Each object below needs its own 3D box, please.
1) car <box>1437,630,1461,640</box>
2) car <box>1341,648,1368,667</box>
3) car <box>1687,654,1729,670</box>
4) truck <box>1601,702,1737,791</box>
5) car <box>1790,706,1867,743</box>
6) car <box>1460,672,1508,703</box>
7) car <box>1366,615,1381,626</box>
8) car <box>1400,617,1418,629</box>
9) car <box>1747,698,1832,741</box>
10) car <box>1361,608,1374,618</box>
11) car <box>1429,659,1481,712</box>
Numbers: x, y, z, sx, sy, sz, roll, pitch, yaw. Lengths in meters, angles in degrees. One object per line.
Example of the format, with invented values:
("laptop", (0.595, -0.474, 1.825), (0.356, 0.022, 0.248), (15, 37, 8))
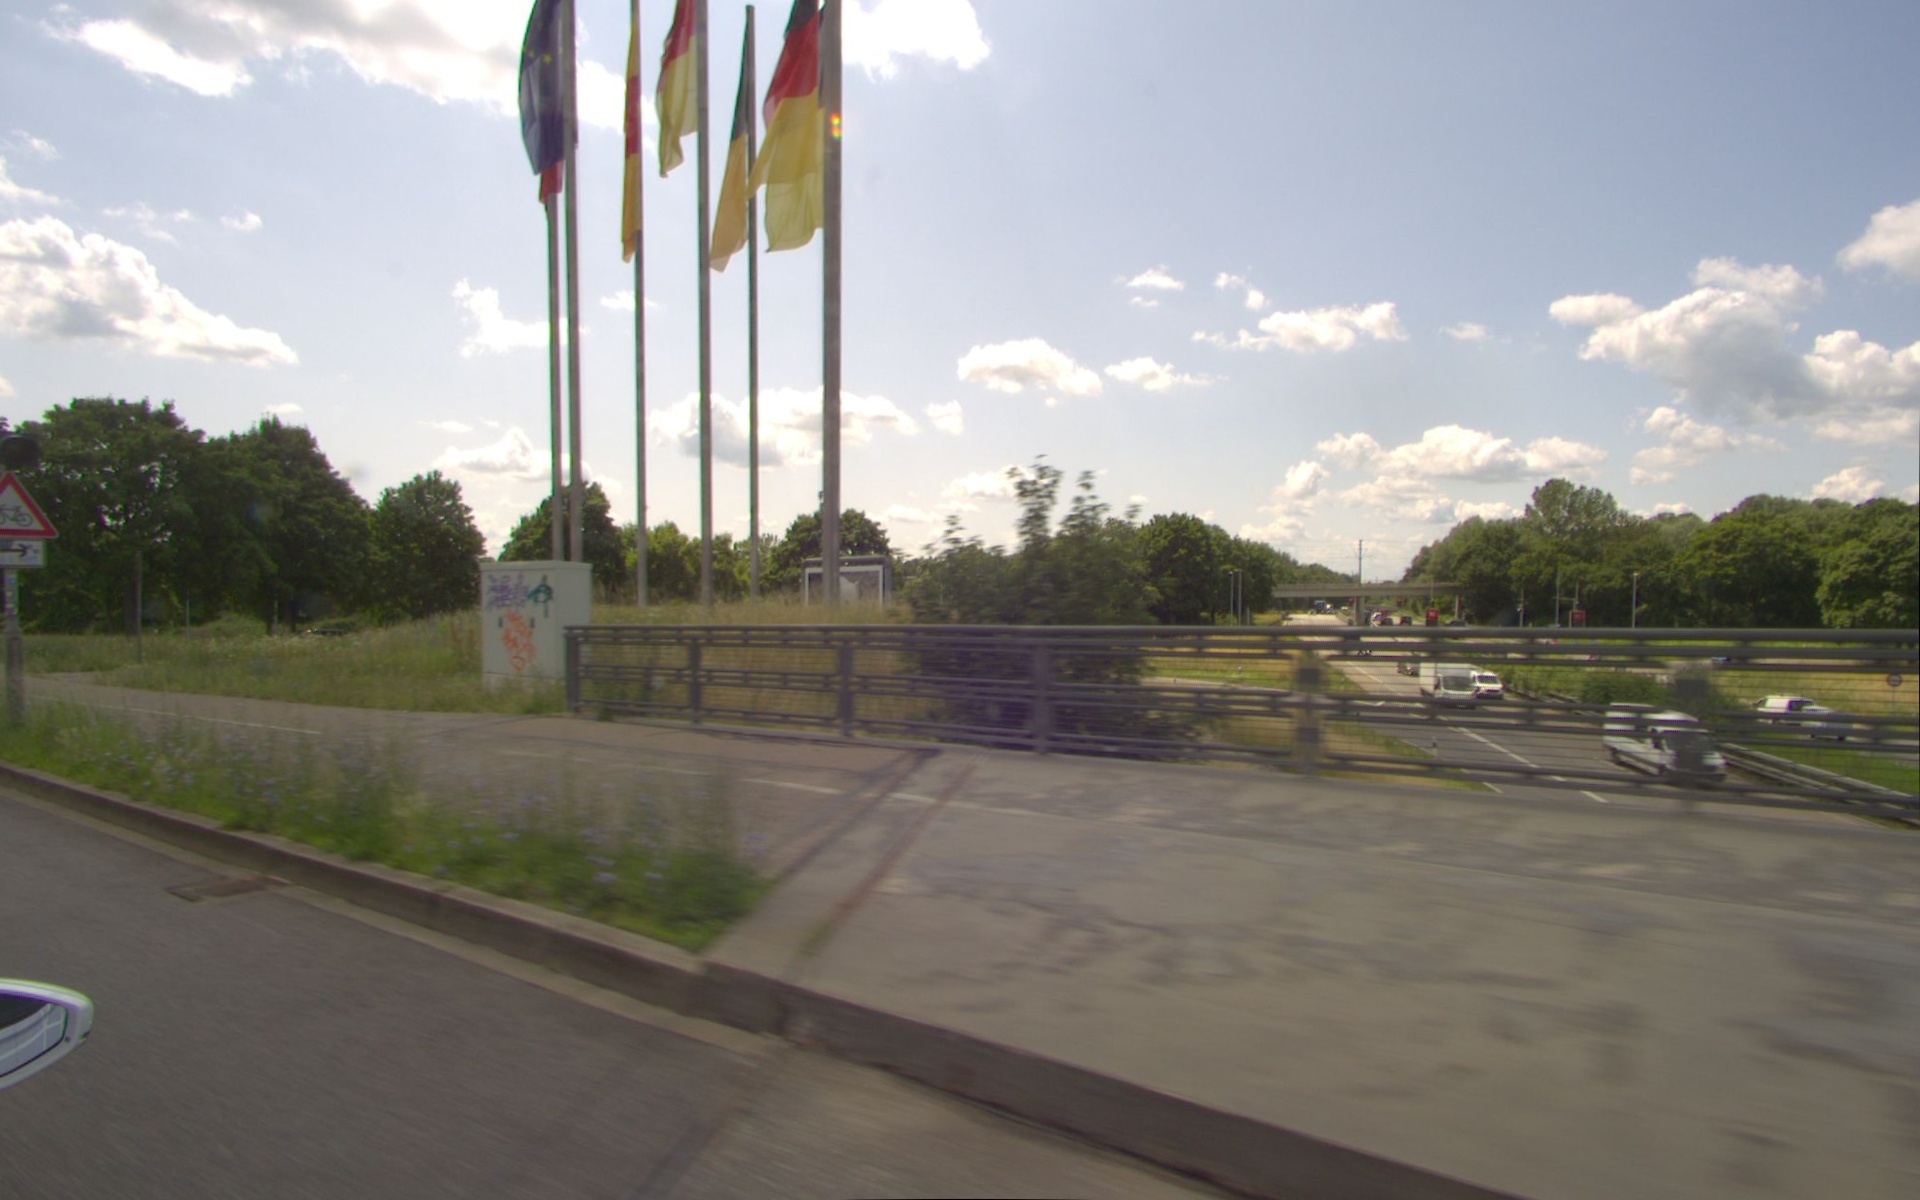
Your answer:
("car", (65.604, 4.665, 134.408), (1.963, 1.305, 3.997), (1, -1, 14))
("car", (39.702, 5.798, 100.752), (1.963, 1.728, 3.997), (1, -1, 14))
("car", (74.857, 6.175, 100.268), (1.963, 1.305, 3.997), (1, -1, 14))
("truck", (28.920, 5.889, 41.189), (1.962, 2.737, 6.615), (1, -1, 11))
("car", (44.162, 6.292, 50.985), (1.631, 1.490, 3.145), (1, -1, 14))
("car", (36.144, 6.031, 69.213), (1.963, 1.766, 3.997), (1, -1, 14))
("car", (80.297, 3.948, 194.432), (1.962, 2.040, 3.998), (1, -1, 11))
("car", (80.667, 4.186, 179.993), (1.962, 2.040, 3.998), (1, -1, 11))
("car", (45.017, 6.440, 54.465), (1.963, 1.861, 3.997), (1, -1, 14))
("car", (88.657, 2.865, 217.965), (1.962, 2.040, 3.998), (1, -1, 11))
("car", (30.580, 5.217, 61.977), (1.963, 2.938, 3.997), (1, 0, 14))
